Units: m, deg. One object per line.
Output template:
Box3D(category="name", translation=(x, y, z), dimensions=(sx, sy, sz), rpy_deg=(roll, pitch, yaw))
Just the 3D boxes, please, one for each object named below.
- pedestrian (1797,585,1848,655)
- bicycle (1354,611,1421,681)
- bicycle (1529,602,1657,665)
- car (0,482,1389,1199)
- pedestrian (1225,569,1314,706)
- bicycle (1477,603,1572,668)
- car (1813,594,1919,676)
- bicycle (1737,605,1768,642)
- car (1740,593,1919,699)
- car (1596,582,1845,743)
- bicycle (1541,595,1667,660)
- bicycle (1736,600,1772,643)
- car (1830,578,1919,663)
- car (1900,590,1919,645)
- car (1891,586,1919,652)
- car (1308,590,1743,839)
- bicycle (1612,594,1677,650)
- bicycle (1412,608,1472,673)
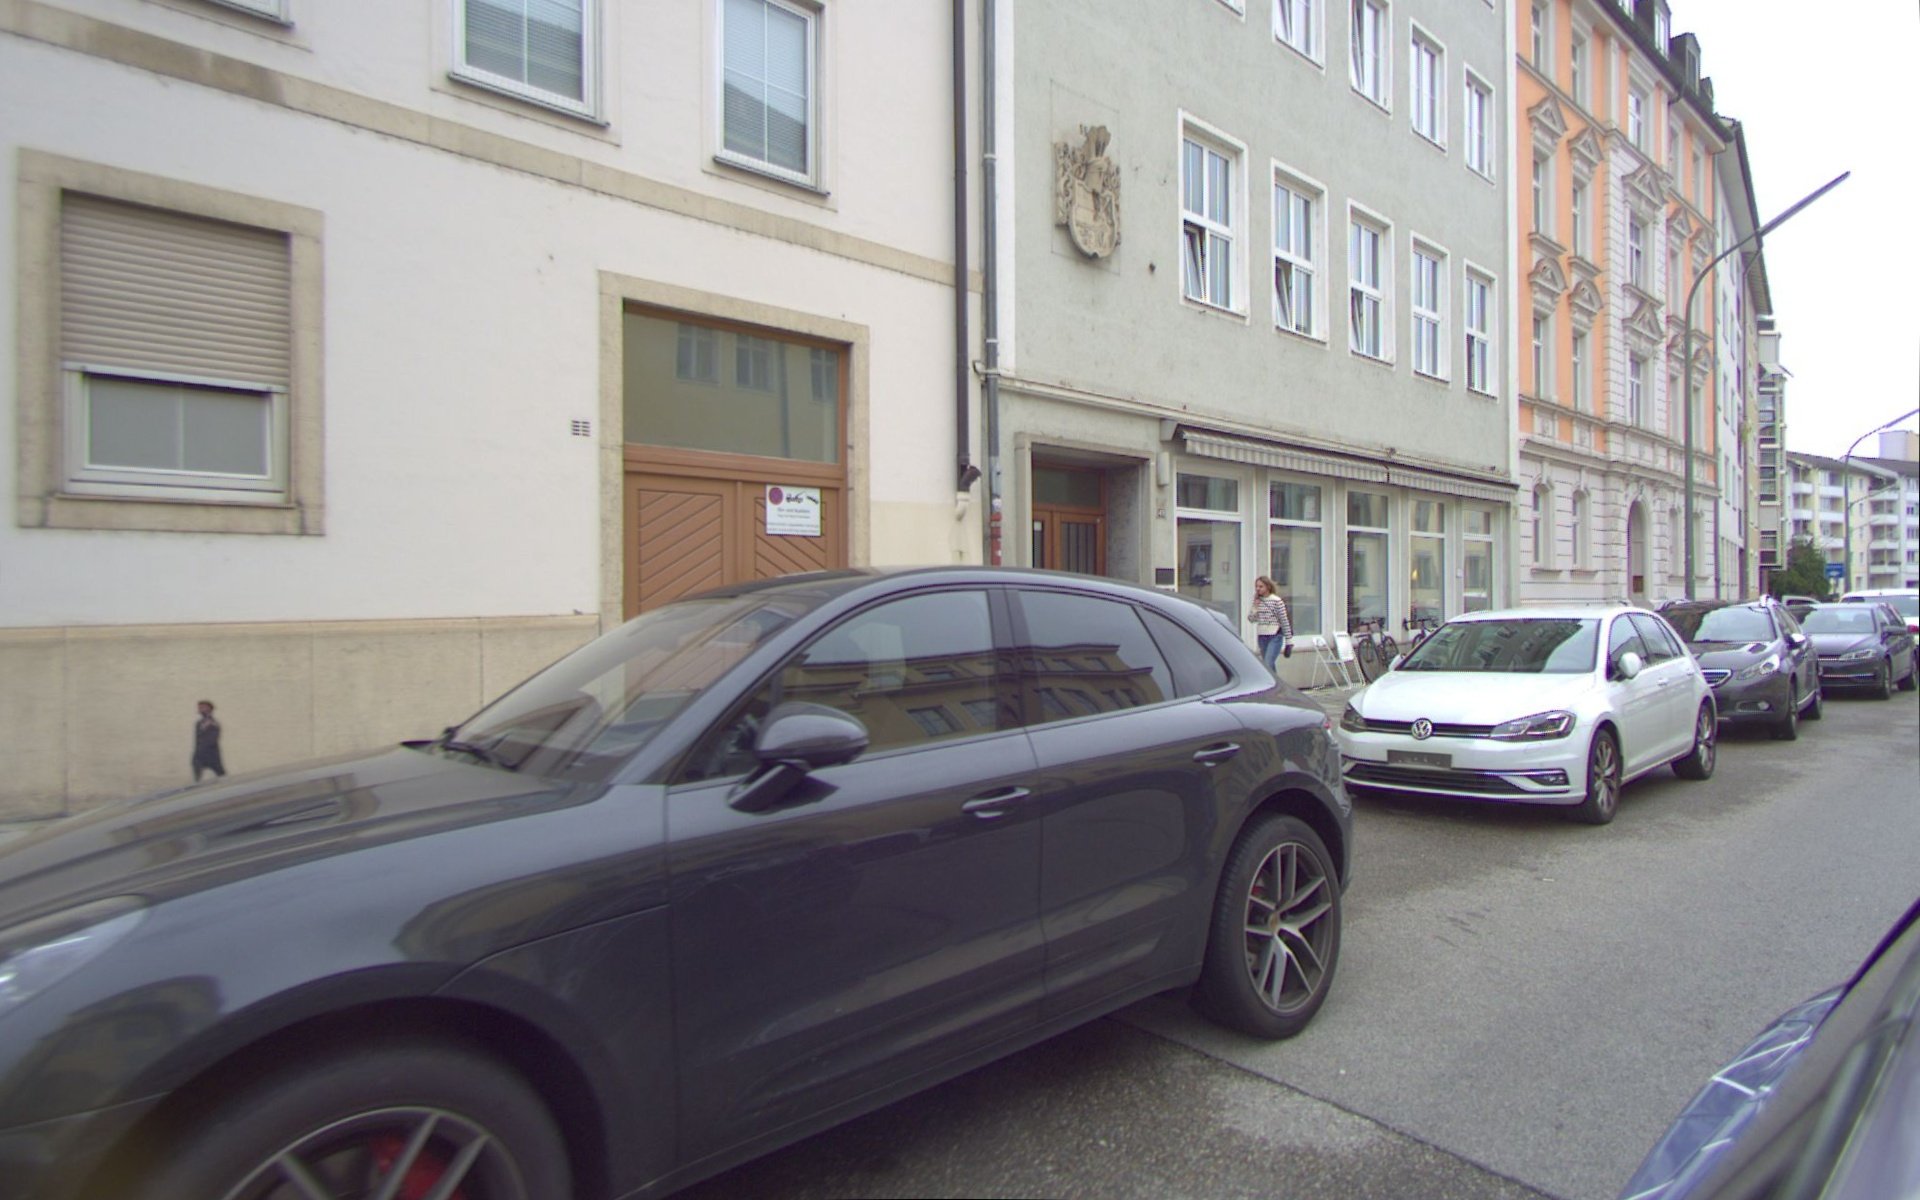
Box3D(category="pedestrian", translation=(20.976, 0.478, 24.626), dimensions=(0.636, 1.683, 0.862), rpy_deg=(0, -1, -41))
Box3D(category="bicycle", translation=(6.632, 0.688, 15.666), dimensions=(1.495, 1.017, 0.331), rpy_deg=(0, 1, -41))
Box3D(category="bicycle", translation=(12.288, 0.646, 19.697), dimensions=(2.057, 1.198, 0.609), rpy_deg=(0, 0, 4))
Box3D(category="car", translation=(-0.604, 0.654, 3.138), dimensions=(4.252, 1.605, 1.781), rpy_deg=(0, -2, -40))
Box3D(category="pedestrian", translation=(3.897, 0.440, 12.735), dimensions=(0.813, 1.646, 0.735), rpy_deg=(0, 1, -41))
Box3D(category="bicycle", translation=(10.301, 0.613, 18.425), dimensions=(2.416, 1.088, 0.770), rpy_deg=(0, 0, -41))
Box3D(category="car", translation=(18.269, 0.643, 20.108), dimensions=(4.231, 1.470, 1.599), rpy_deg=(0, -2, -45))
Box3D(category="bicycle", translation=(25.738, 0.744, 32.847), dimensions=(0.666, 1.135, 1.627), rpy_deg=(-2, -1, 42))
Box3D(category="car", translation=(14.097, 0.670, 16.166), dimensions=(4.010, 1.470, 1.695), rpy_deg=(-1, -2, -40))
Box3D(category="car", translation=(9.199, 0.641, 12.121), dimensions=(4.015, 1.604, 1.693), rpy_deg=(-1, -2, -44))
Box3D(category="bicycle", translation=(12.927, 0.541, 20.347), dimensions=(2.057, 1.198, 0.609), rpy_deg=(2, 0, 2))
Box3D(category="bicycle", translation=(22.416, 0.588, 28.559), dimensions=(0.666, 1.135, 1.926), rpy_deg=(-2, -1, 42))
Box3D(category="car", translation=(21.926, 0.443, 23.547), dimensions=(4.810, 1.809, 1.843), rpy_deg=(0, -3, -41))
Box3D(category="car", translation=(29.820, 0.492, 30.562), dimensions=(4.129, 1.608, 1.742), rpy_deg=(0, -2, -43))
Box3D(category="car", translation=(26.009, 0.456, 26.844), dimensions=(3.570, 1.663, 1.605), rpy_deg=(-1, -2, -43))
Box3D(category="car", translation=(4.636, 0.707, 8.051), dimensions=(4.012, 1.483, 1.694), rpy_deg=(-1, -2, -41))
Box3D(category="bicycle", translation=(15.607, 0.506, 23.064), dimensions=(2.057, 1.198, 0.652), rpy_deg=(2, 0, -40))
Box3D(category="bicycle", translation=(8.013, 0.651, 16.800), dimensions=(1.495, 1.017, 0.331), rpy_deg=(0, 1, -41))
